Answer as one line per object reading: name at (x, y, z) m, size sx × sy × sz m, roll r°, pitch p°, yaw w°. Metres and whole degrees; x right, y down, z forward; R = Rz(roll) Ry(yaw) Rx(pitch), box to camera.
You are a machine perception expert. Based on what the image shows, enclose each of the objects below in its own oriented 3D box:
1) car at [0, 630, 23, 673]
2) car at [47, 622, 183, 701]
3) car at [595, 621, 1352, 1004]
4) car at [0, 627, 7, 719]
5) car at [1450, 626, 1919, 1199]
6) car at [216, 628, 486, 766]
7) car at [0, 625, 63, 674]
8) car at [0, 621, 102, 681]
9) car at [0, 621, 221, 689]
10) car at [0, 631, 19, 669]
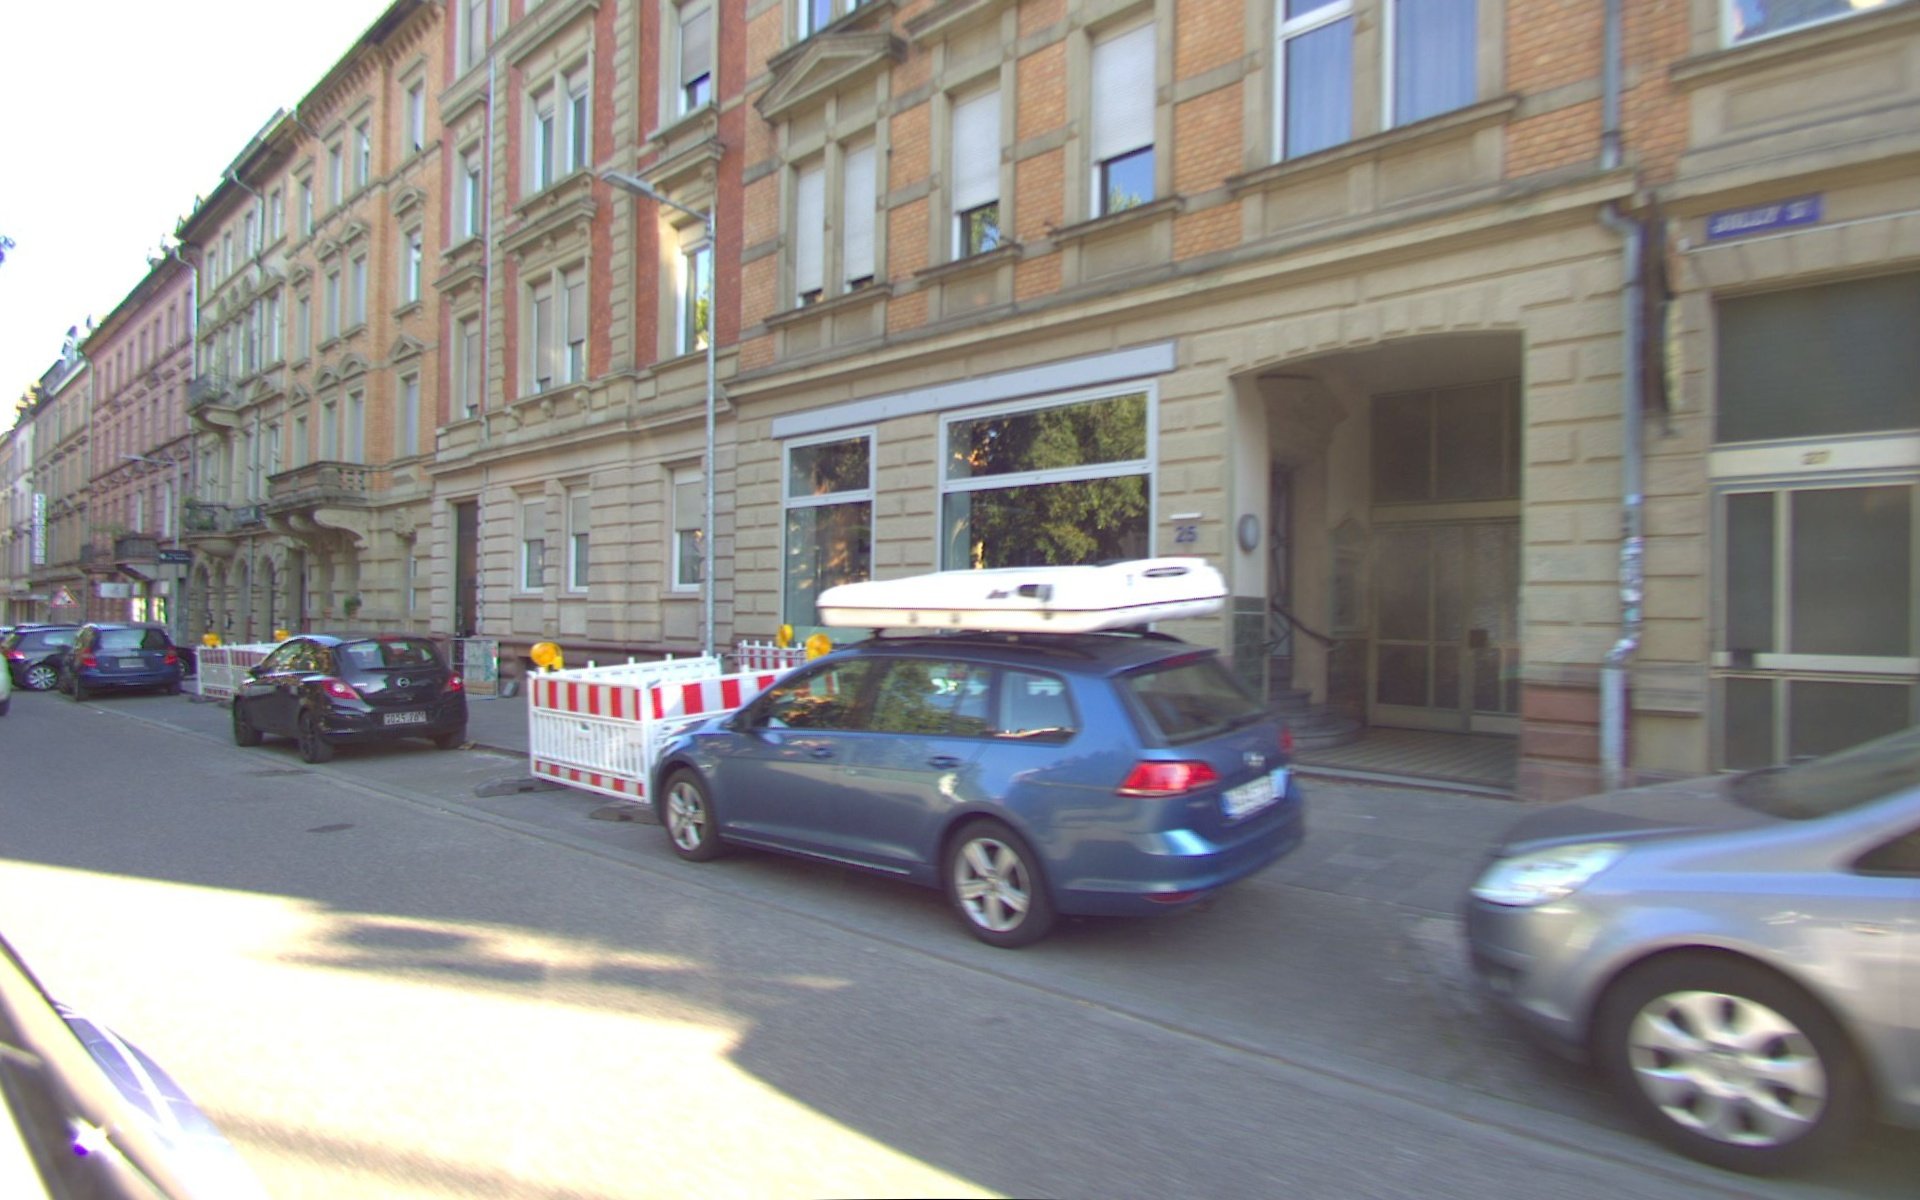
car at (-34.958, 1.808, 36.269) m, size 3.998 × 1.484 × 1.565 m, roll -2°, pitch -3°, yaw 41°
car at (-18.551, 1.297, 22.168) m, size 3.894 × 1.579 × 1.723 m, roll -2°, pitch -3°, yaw 42°
car at (-0.185, 0.862, 5.913) m, size 4.297 × 1.448 × 1.747 m, roll -1°, pitch -2°, yaw 40°
car at (-17.836, 1.211, 17.254) m, size 3.995 × 1.521 × 1.732 m, roll -1°, pitch -2°, yaw 38°
car at (3.643, 0.813, 2.567) m, size 3.995 × 1.448 × 1.707 m, roll -1°, pitch 0°, yaw 42°
car at (-7.709, 1.084, 12.676) m, size 4.017 × 1.465 × 1.686 m, roll -1°, pitch -2°, yaw 40°
car at (-31.201, 1.611, 33.584) m, size 3.998 × 1.484 × 1.630 m, roll -2°, pitch 0°, yaw 41°
car at (-26.993, 1.464, 29.911) m, size 4.042 × 1.586 × 1.632 m, roll -2°, pitch 0°, yaw 37°
car at (-21.031, 1.323, 25.121) m, size 1.822 × 1.541 × 3.952 m, roll -1°, pitch -3°, yaw 35°
car at (-38.385, 1.930, 39.767) m, size 3.957 × 1.450 × 1.687 m, roll -2°, pitch -3°, yaw 42°
